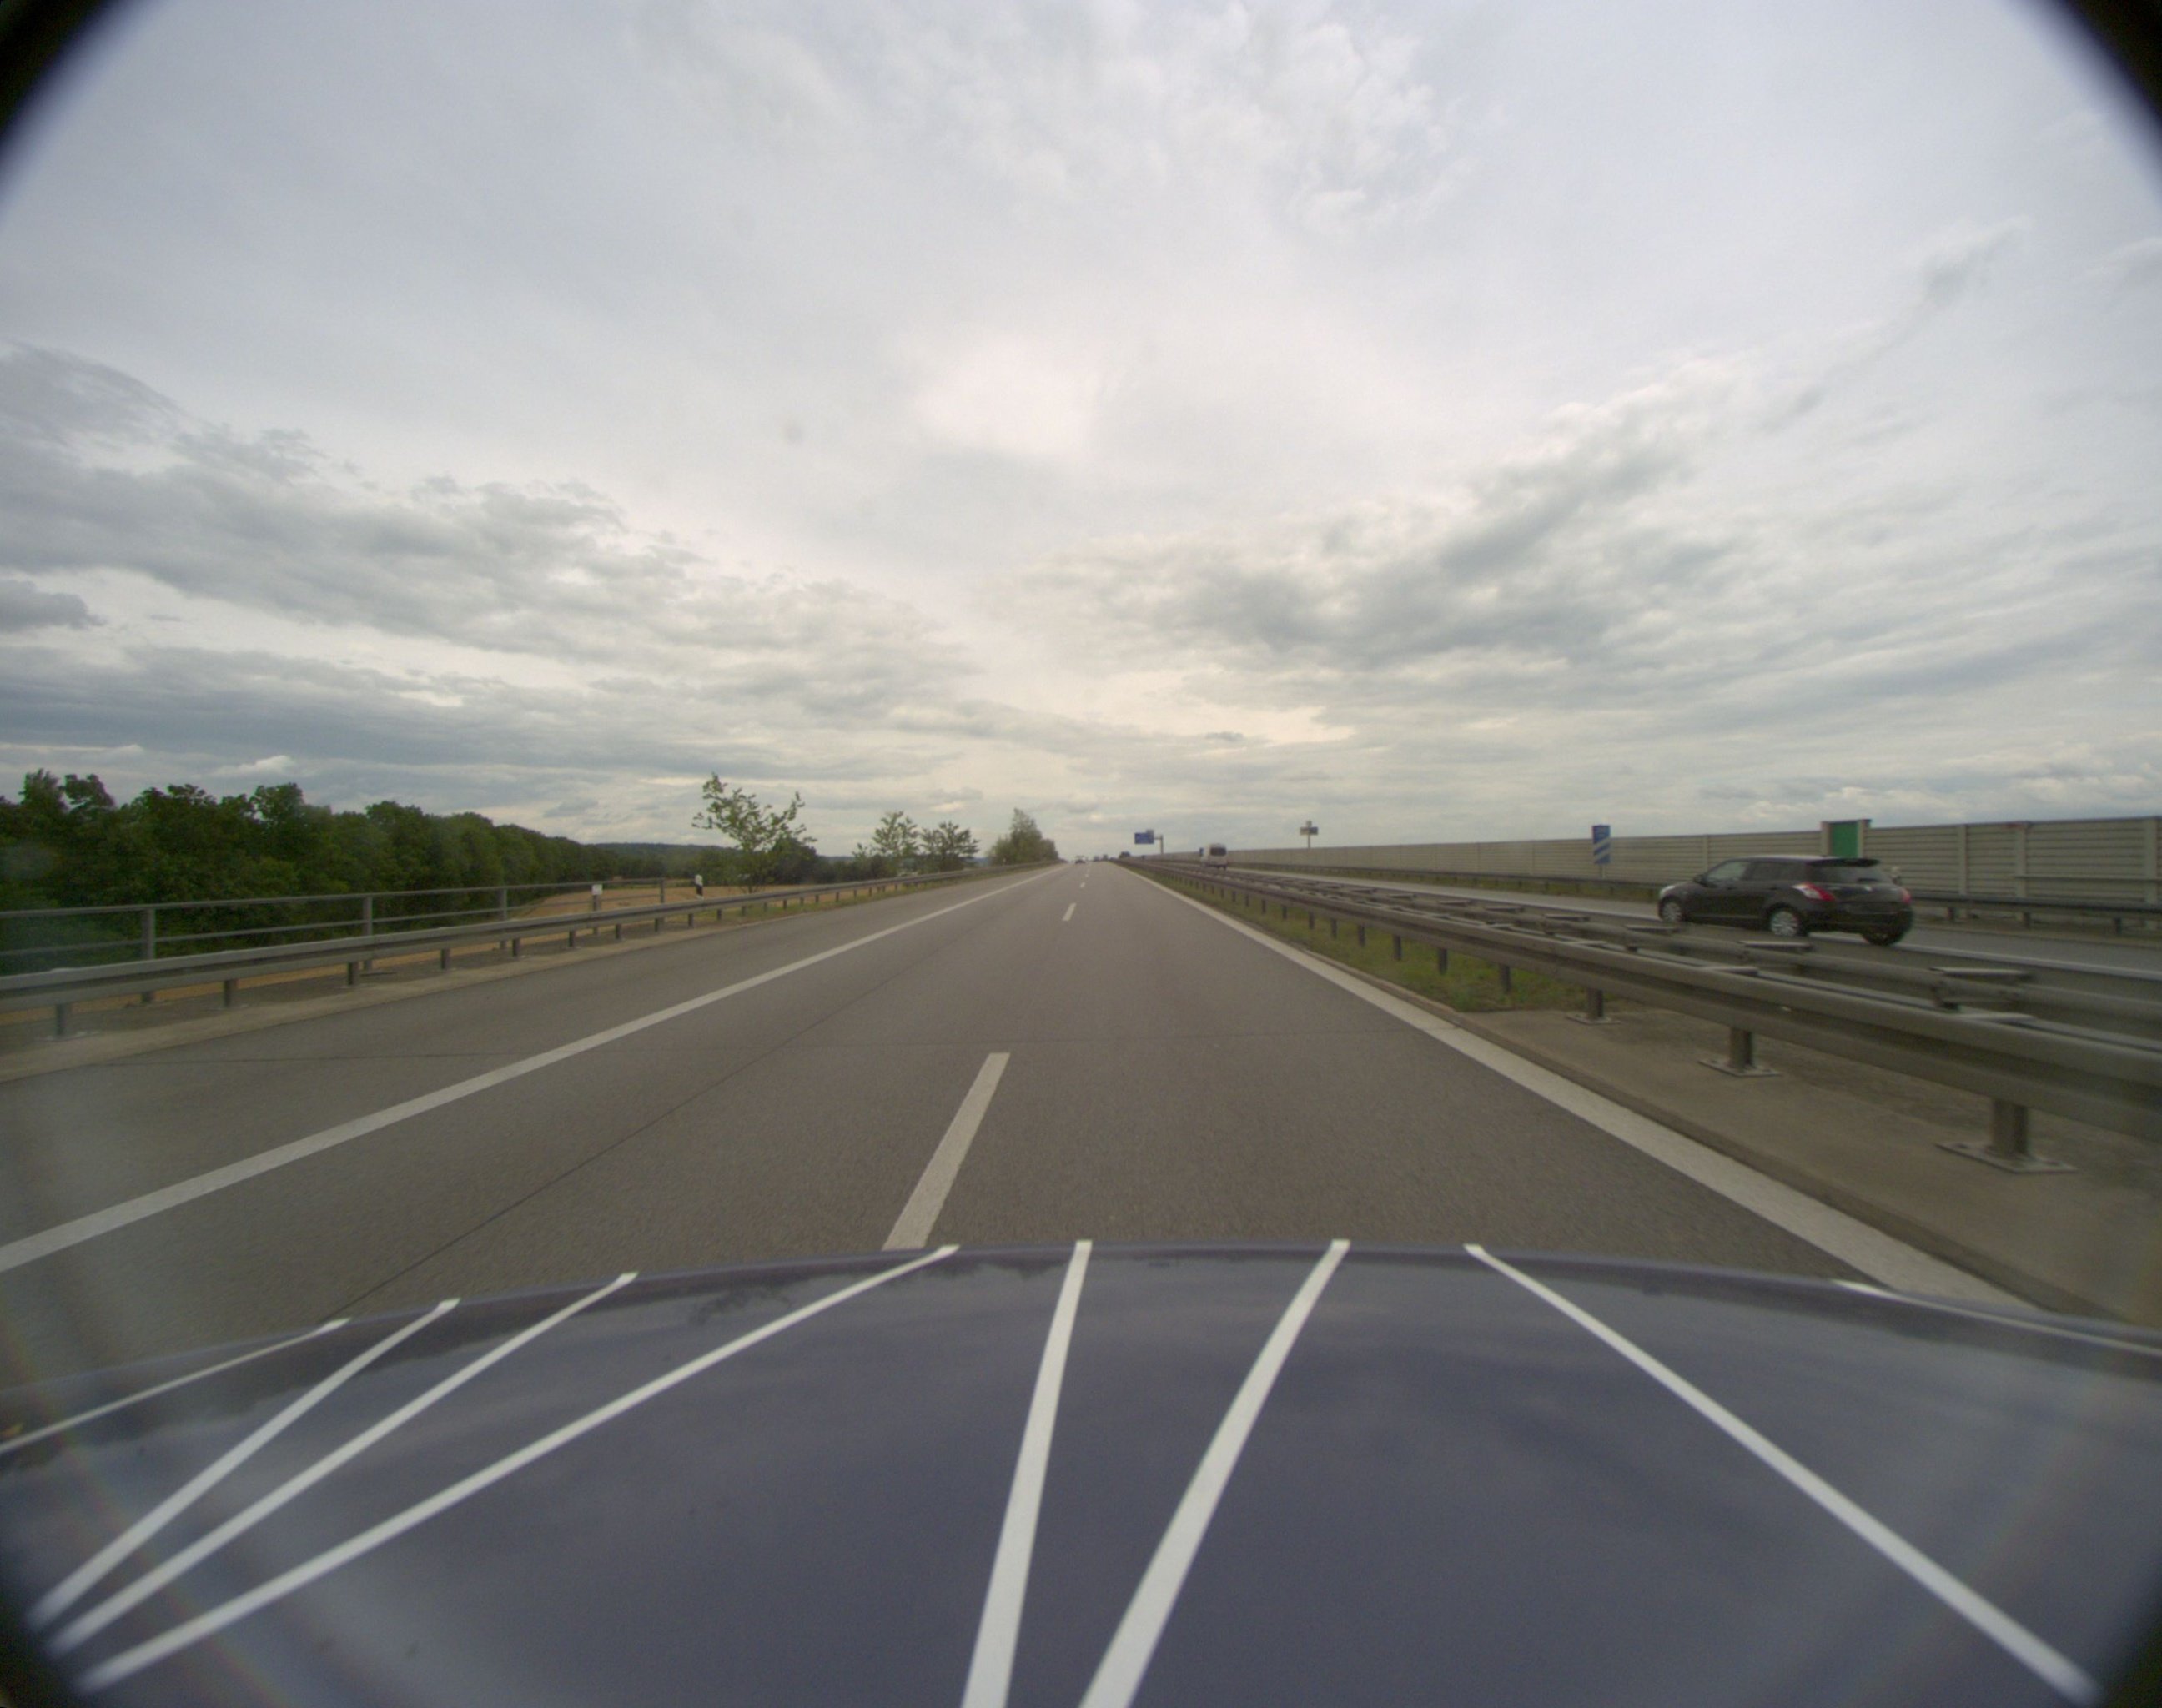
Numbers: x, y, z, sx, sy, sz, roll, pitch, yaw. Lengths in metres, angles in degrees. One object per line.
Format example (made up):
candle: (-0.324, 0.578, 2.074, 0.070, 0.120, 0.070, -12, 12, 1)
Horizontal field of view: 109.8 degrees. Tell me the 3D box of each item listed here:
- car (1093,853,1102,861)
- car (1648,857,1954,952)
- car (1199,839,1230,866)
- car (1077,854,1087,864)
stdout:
car: (3.813, 0.668, 174.282, 1.850, 1.664, 4.200, 0, -2, -1)
car: (12.406, 0.773, 13.516, 1.674, 1.378, 4.000, 0, 1, 1)
car: (13.443, -0.153, 76.898, 2.075, 2.588, 6.289, 2, 1, 1)
car: (0.158, 0.882, 139.704, 1.850, 1.664, 4.200, 0, -2, -1)
